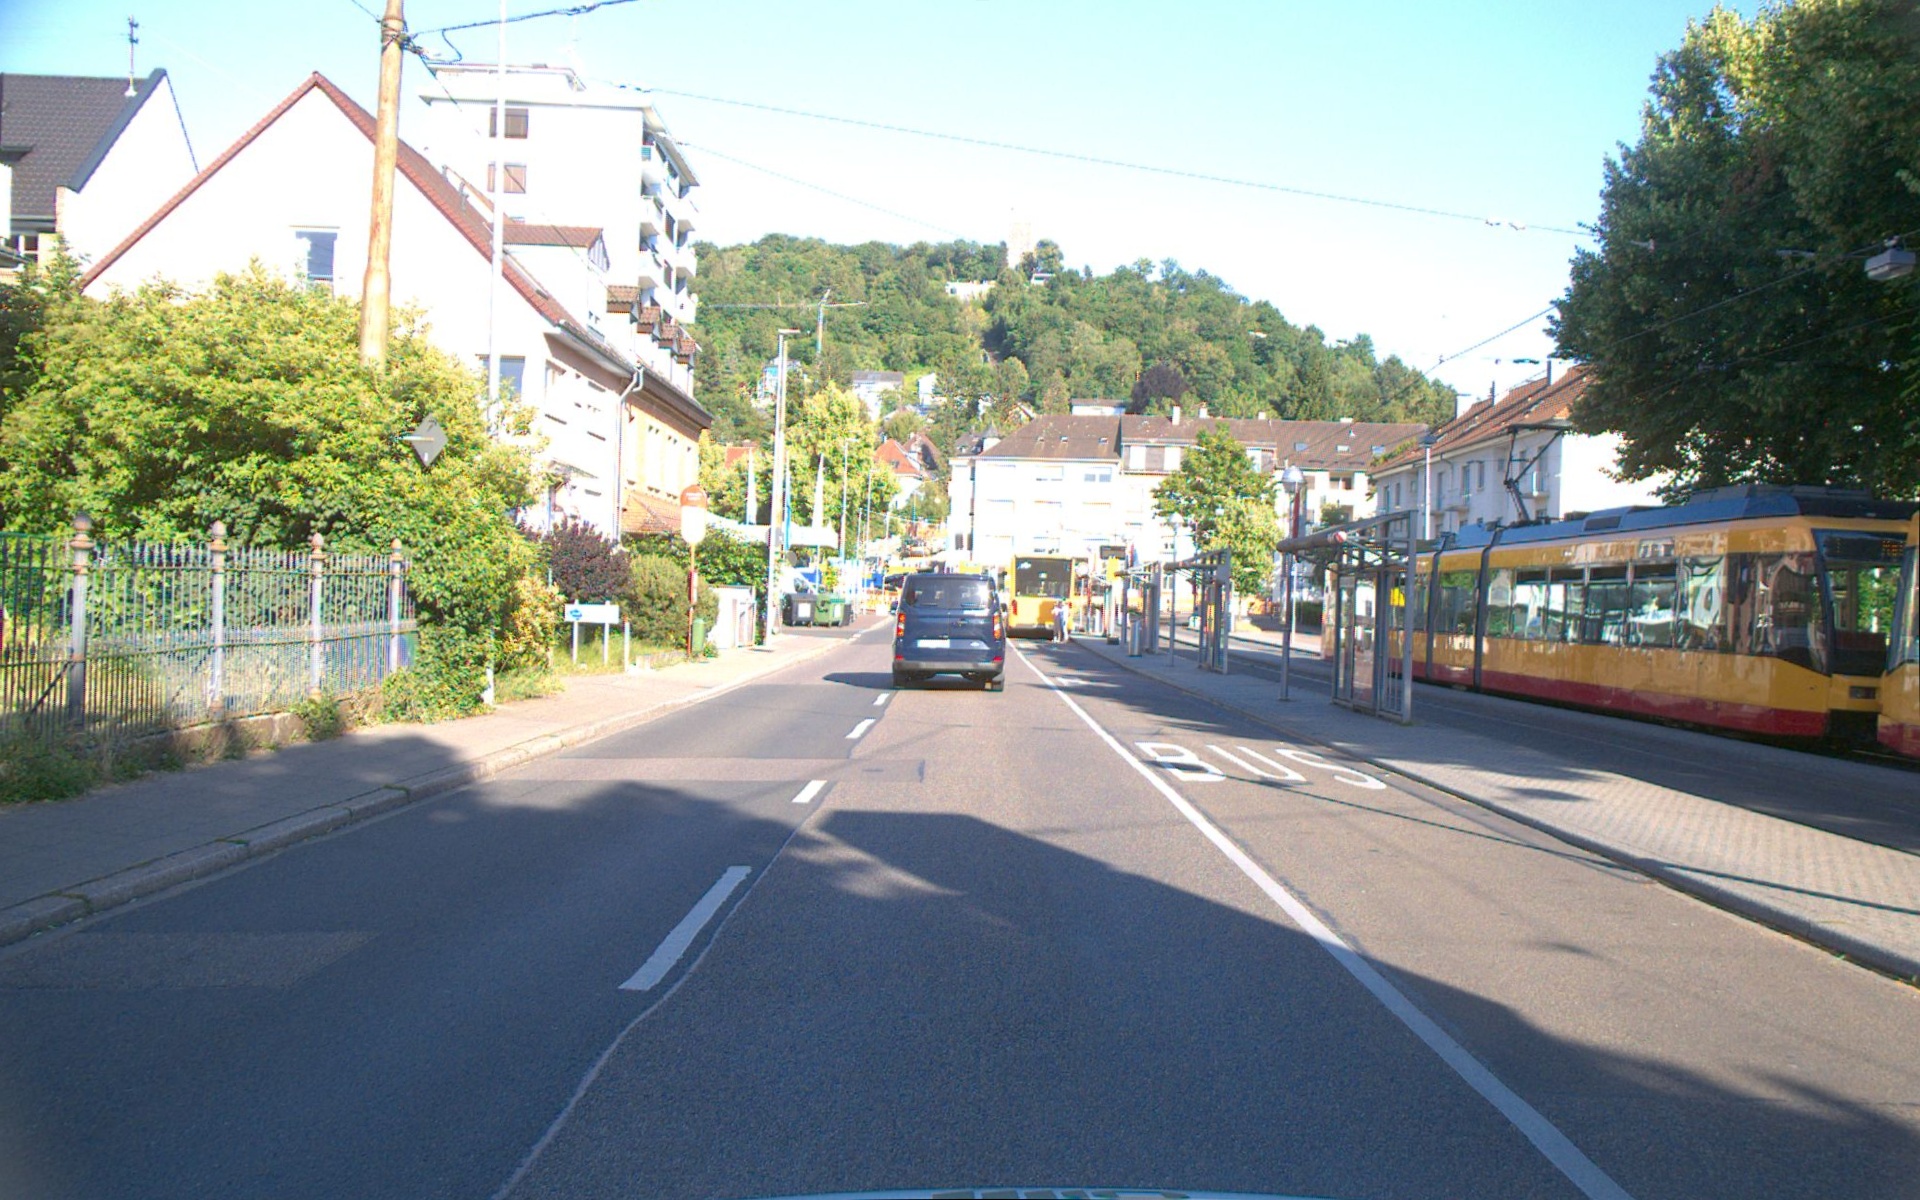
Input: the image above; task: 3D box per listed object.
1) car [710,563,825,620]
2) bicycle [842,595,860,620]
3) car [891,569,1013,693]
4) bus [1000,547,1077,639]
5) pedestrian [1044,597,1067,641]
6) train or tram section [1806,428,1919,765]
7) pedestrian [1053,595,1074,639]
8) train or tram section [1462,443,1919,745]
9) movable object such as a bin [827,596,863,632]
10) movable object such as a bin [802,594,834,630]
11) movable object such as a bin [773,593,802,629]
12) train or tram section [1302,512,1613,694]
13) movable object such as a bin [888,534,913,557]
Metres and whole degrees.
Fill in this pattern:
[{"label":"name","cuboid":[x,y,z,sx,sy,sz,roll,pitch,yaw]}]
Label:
[{"label":"car","cuboid":[-9.121,-0.403,78.220,4.984,2.512,2.095,2,0,-22]},{"label":"bicycle","cuboid":[-5.308,0.363,80.552,0.709,1.198,1.777,2,0,-9]},{"label":"car","cuboid":[-0.132,0.509,29.972,2.019,2.049,5.000,0,0,0]},{"label":"bus","cuboid":[3.189,-0.341,69.885,2.633,3.475,12.019,2,1,0]},{"label":"pedestrian","cuboid":[3.627,0.728,62.794,0.540,1.641,0.628,2,0,-37]},{"label":"train or tram section","cuboid":[11.469,0.049,11.357,2.897,3.481,15.937,1,1,-1]},{"label":"pedestrian","cuboid":[3.915,0.636,62.405,0.540,1.641,0.542,2,0,-37]},{"label":"train or tram section","cuboid":[11.565,0.006,26.550,2.897,3.596,13.462,1,-1,0]},{"label":"movable object such as a bin","cuboid":[-5.138,0.613,73.998,1.035,1.508,1.311,4,4,28]},{"label":"movable object such as a bin","cuboid":[-6.272,0.524,73.041,1.204,1.508,0.698,0,4,-29]},{"label":"movable object such as a bin","cuboid":[-7.574,0.465,72.686,1.194,1.508,0.704,1,3,-5]},{"label":"train or tram section","cuboid":[11.584,0.143,41.010,2.897,3.596,15.968,1,-1,0]},{"label":"movable object such as a bin","cuboid":[-7.375,-6.768,206.203,2.144,2.737,4.004,2,1,11]}]
